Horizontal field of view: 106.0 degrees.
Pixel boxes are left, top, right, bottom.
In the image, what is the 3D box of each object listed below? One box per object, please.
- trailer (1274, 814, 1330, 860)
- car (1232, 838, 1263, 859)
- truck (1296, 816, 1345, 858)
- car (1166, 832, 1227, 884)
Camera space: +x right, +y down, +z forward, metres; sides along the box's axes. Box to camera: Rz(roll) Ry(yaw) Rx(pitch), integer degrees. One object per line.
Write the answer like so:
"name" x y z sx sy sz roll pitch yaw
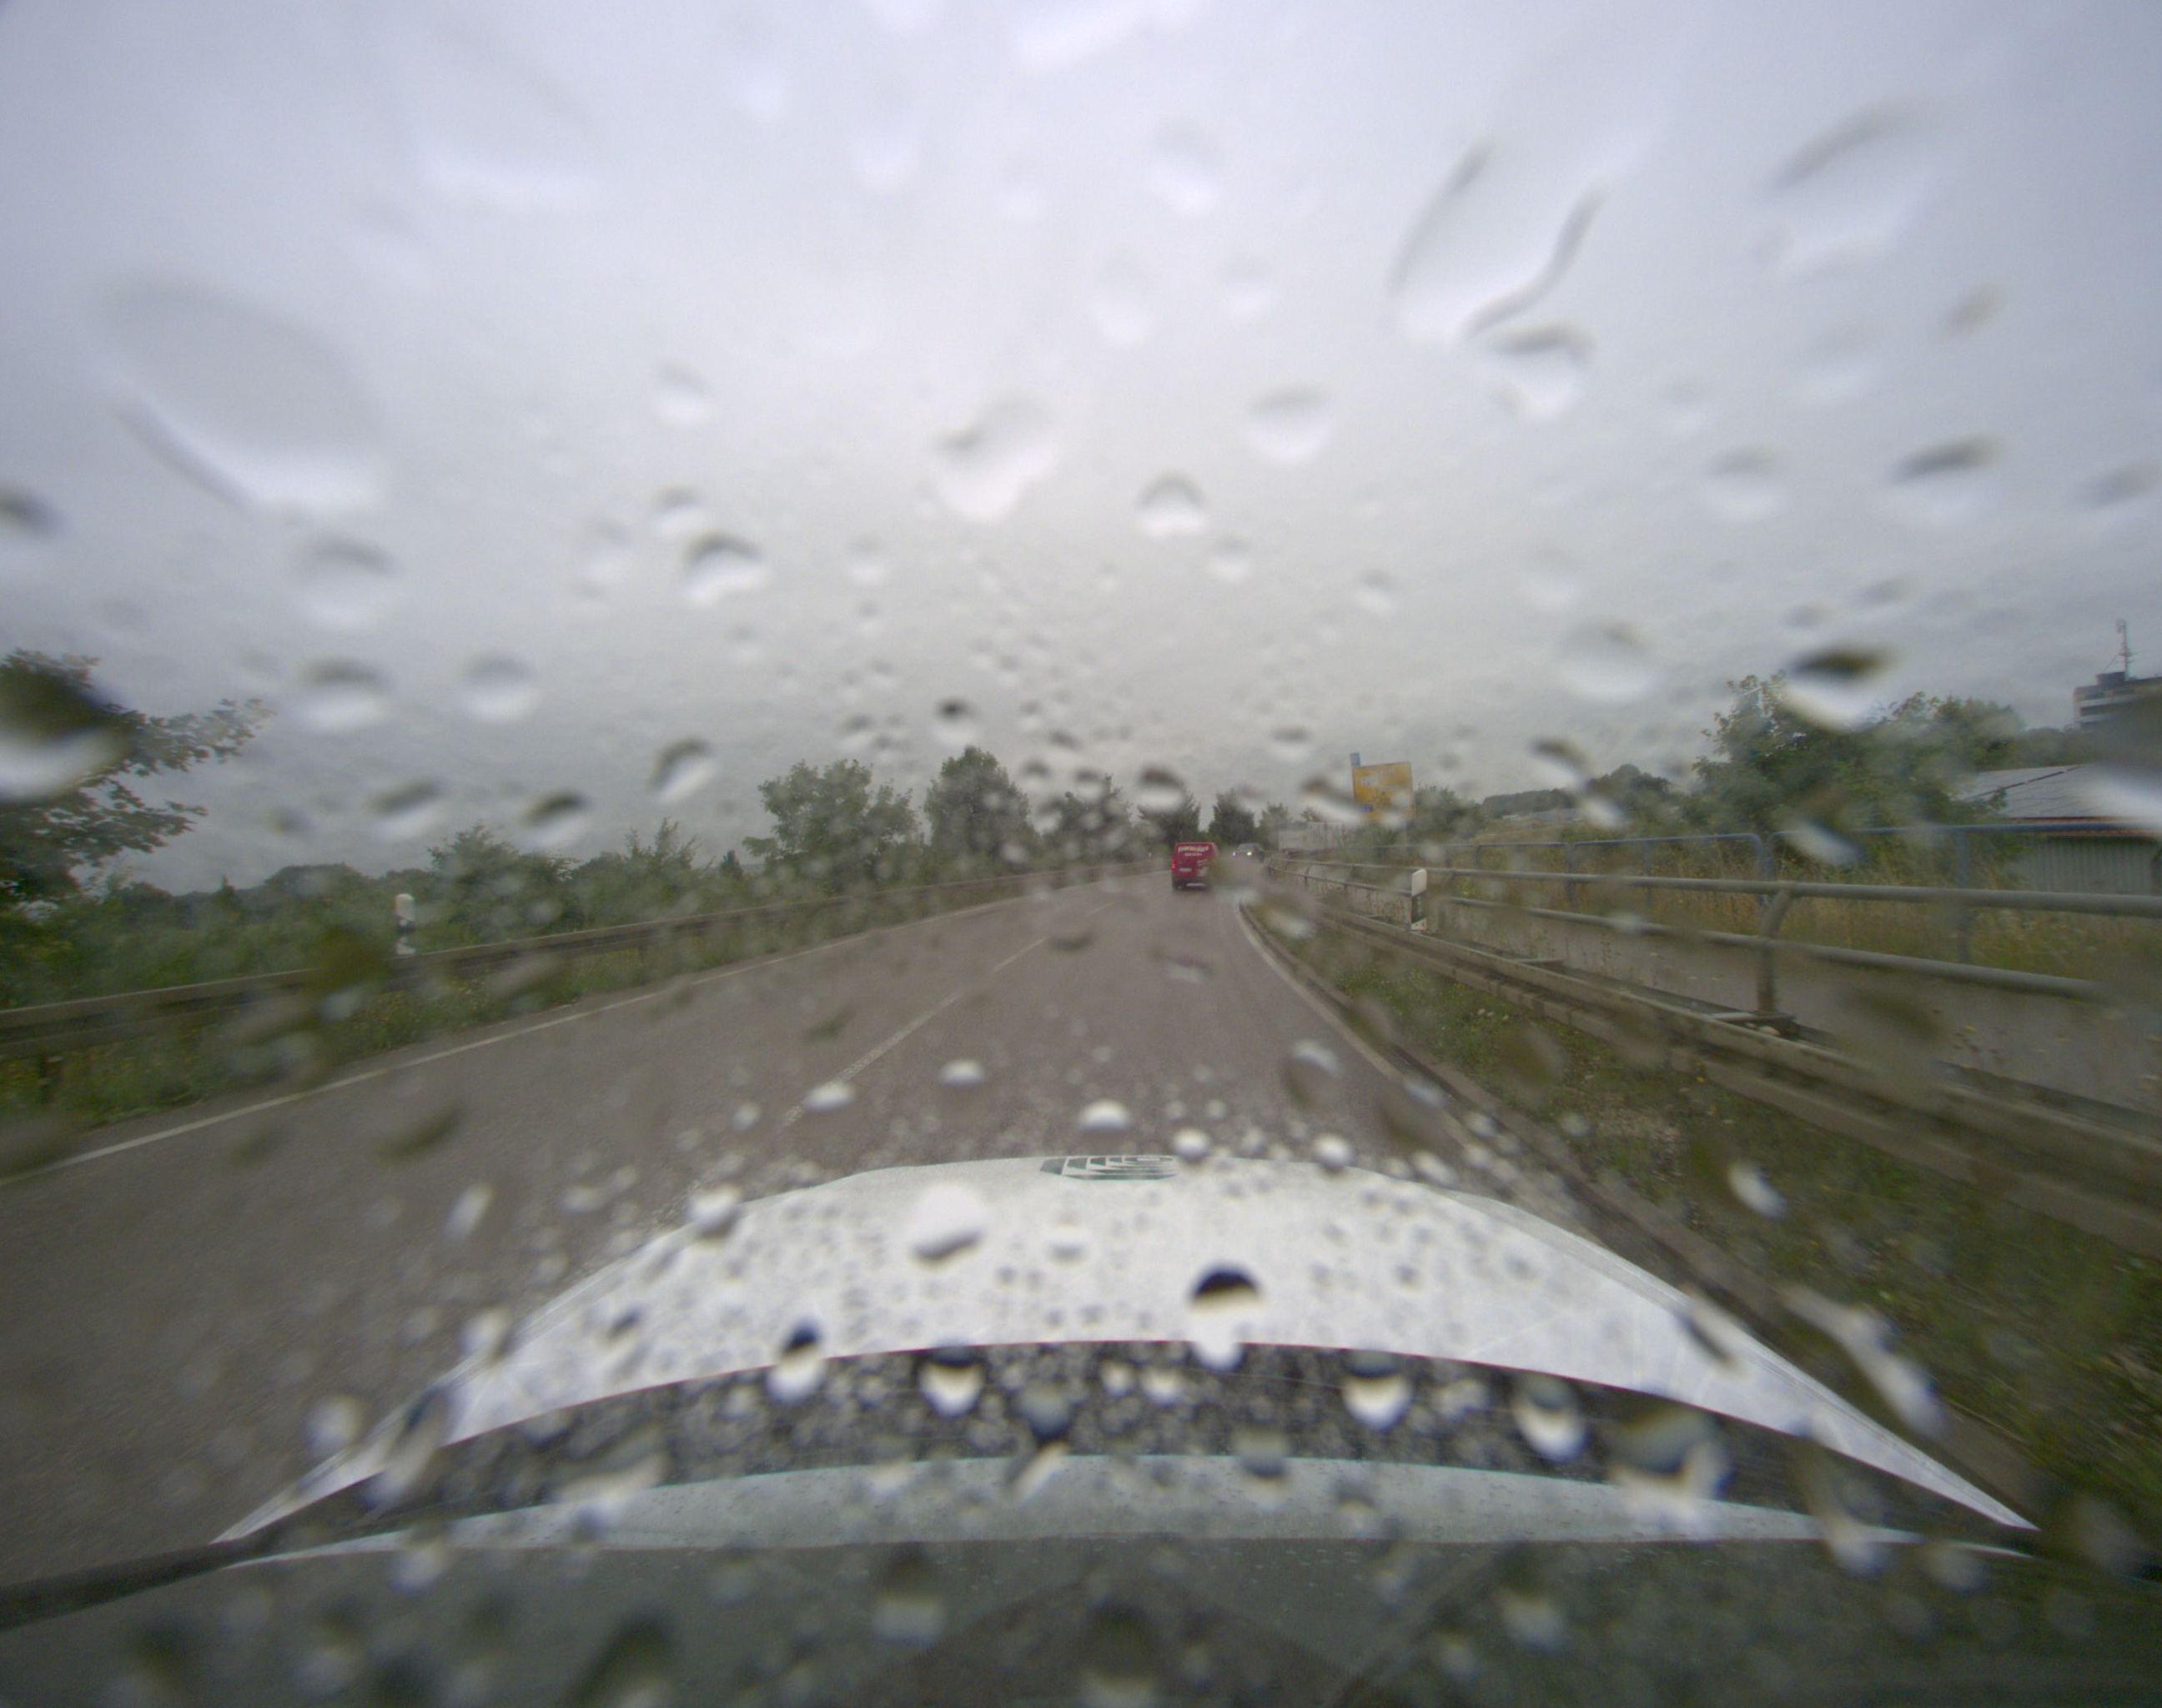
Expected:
"trailer" 20.376 -1.529 74.597 3.171 3.922 8.791 -1 0 27
"car" 14.707 -0.480 71.713 1.976 1.727 4.021 -1 0 21
"truck" 24.359 -1.640 82.482 3.171 3.922 8.791 -1 0 27
"car" 4.895 0.131 34.067 1.979 1.925 4.159 -4 0 14
